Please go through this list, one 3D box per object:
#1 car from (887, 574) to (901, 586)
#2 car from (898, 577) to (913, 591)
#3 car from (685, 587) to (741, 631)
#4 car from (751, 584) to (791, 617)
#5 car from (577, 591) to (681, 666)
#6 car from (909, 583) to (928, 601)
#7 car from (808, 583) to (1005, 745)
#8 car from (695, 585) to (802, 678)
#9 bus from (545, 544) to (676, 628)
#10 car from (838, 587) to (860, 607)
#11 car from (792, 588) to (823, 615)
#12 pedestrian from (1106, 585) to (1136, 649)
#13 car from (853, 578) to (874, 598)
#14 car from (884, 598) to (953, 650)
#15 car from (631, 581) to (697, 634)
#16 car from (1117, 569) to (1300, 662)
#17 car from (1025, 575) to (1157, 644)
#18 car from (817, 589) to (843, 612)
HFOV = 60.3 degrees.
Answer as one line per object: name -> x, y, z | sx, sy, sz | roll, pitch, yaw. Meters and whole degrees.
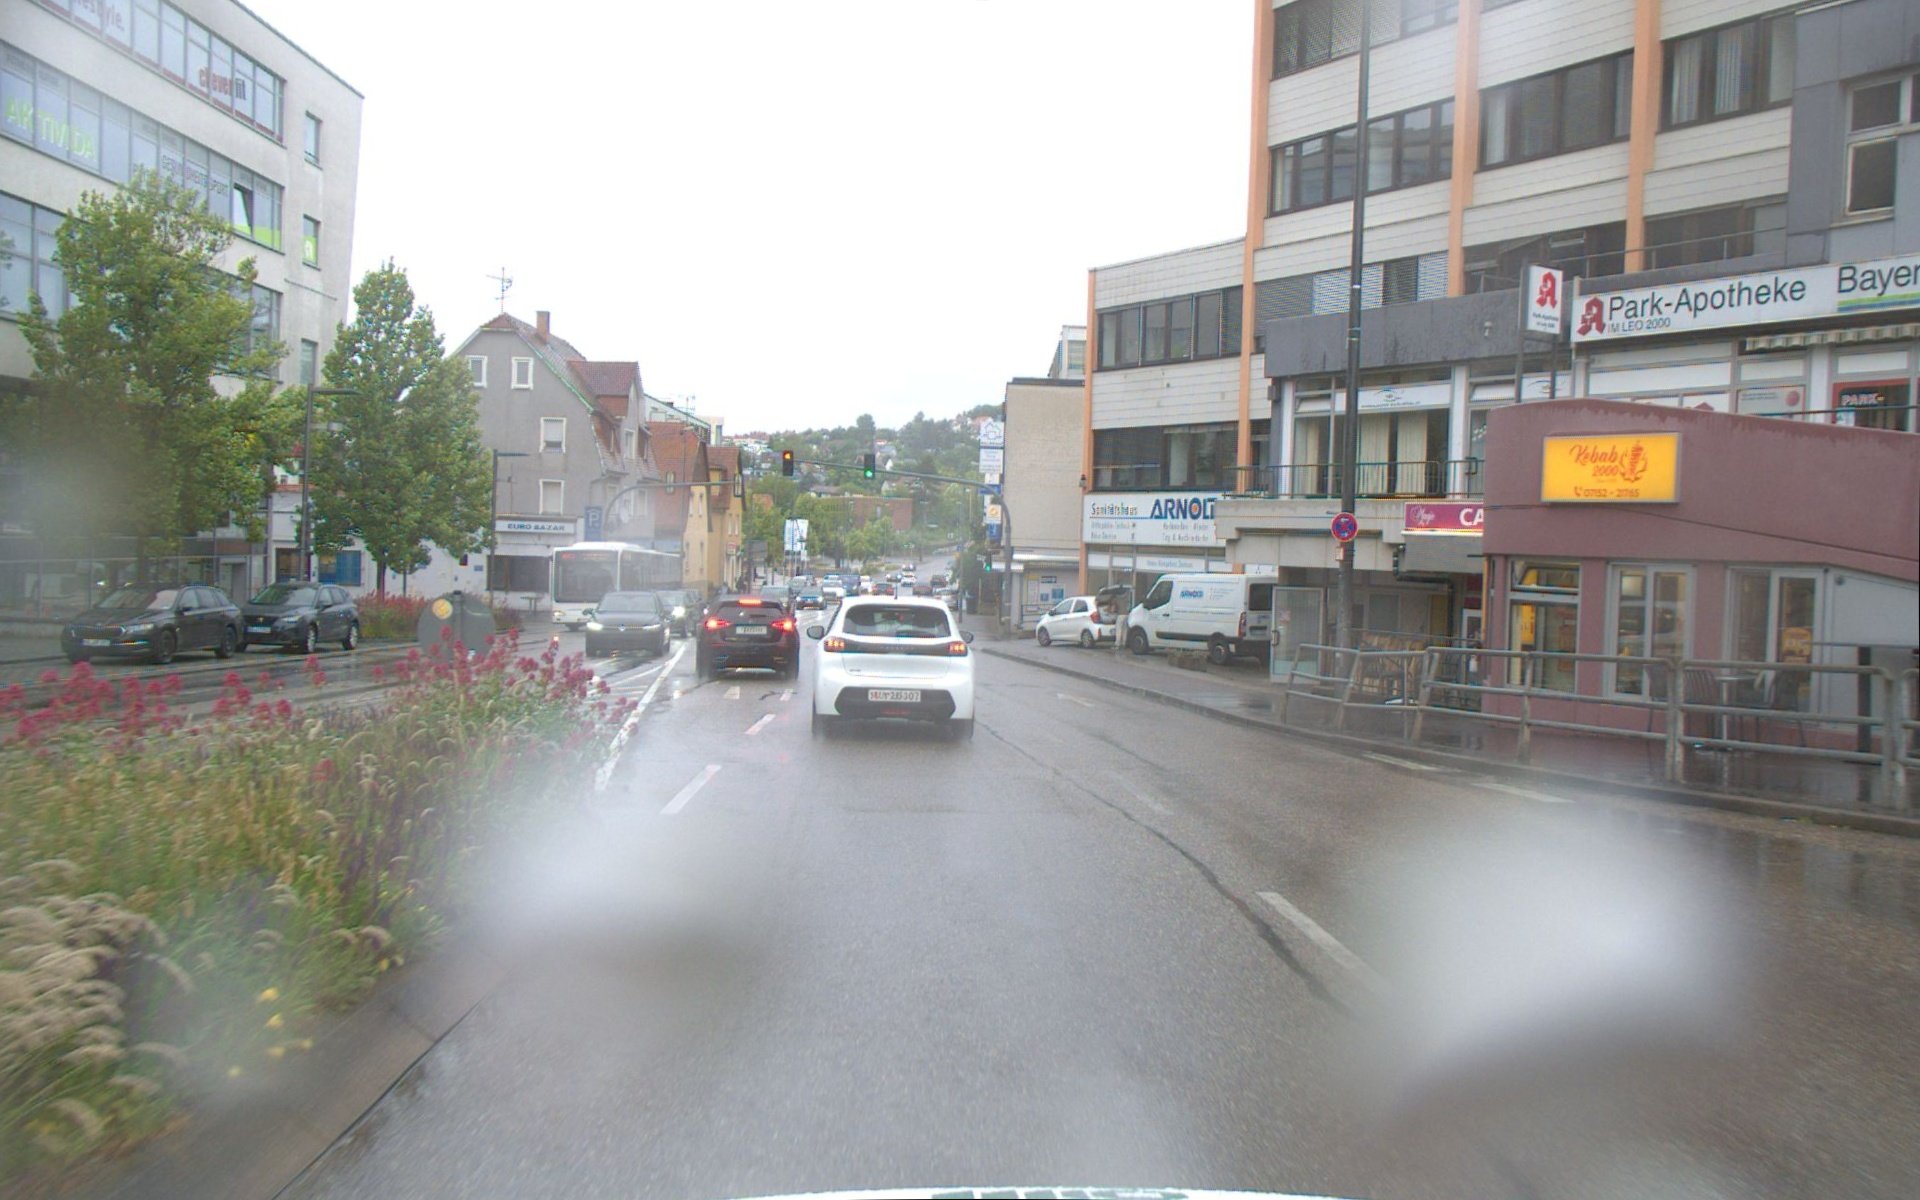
car -> -8.633, -2.598, 215.994 | 1.711, 1.582, 3.999 | 1, 1, -2
car -> -6.539, -1.974, 198.936 | 1.711, 1.582, 3.999 | 1, 1, -2
car -> -9.732, 0.335, 65.281 | 1.779, 1.582, 3.998 | 1, 1, -3
car -> -9.505, 0.008, 83.375 | 1.711, 1.582, 3.999 | 1, 1, -2
car -> -7.747, 0.623, 39.004 | 1.855, 1.582, 3.998 | 1, 1, -4
car -> -3.874, -0.735, 152.598 | 1.711, 1.582, 3.999 | 1, 1, -2
car -> -0.696, 0.630, 18.086 | 1.836, 1.487, 3.868 | 3, 0, -6
car -> -3.878, 0.543, 30.099 | 1.782, 1.556, 3.805 | 1, 0, -9
bus -> -12.737, -0.567, 61.180 | 2.878, 2.832, 9.504 | 1, 1, -1
car -> -9.273, -0.271, 138.027 | 1.711, 1.582, 3.999 | 1, 1, -2
car -> -9.786, 0.081, 106.450 | 1.711, 1.582, 3.999 | 1, 1, -2
pedestrian -> 4.666, 0.489, 48.002 | 0.634, 1.854, 0.576 | 0, 1, -33
car -> -9.333, -1.178, 160.367 | 1.749, 1.713, 4.001 | 3, 2, 0
car -> -1.331, 0.736, 51.820 | 1.875, 1.424, 3.454 | 2, 1, -6
car -> -9.410, 0.210, 52.836 | 1.780, 1.582, 3.995 | 1, 1, -6
car -> 6.595, 0.363, 44.415 | 1.978, 2.265, 4.913 | 0, 1, -36
car -> 3.873, 0.253, 49.525 | 1.867, 1.911, 4.089 | 0, 1, -32
car -> -9.554, 0.055, 122.130 | 1.711, 1.582, 3.999 | 1, 1, -2
